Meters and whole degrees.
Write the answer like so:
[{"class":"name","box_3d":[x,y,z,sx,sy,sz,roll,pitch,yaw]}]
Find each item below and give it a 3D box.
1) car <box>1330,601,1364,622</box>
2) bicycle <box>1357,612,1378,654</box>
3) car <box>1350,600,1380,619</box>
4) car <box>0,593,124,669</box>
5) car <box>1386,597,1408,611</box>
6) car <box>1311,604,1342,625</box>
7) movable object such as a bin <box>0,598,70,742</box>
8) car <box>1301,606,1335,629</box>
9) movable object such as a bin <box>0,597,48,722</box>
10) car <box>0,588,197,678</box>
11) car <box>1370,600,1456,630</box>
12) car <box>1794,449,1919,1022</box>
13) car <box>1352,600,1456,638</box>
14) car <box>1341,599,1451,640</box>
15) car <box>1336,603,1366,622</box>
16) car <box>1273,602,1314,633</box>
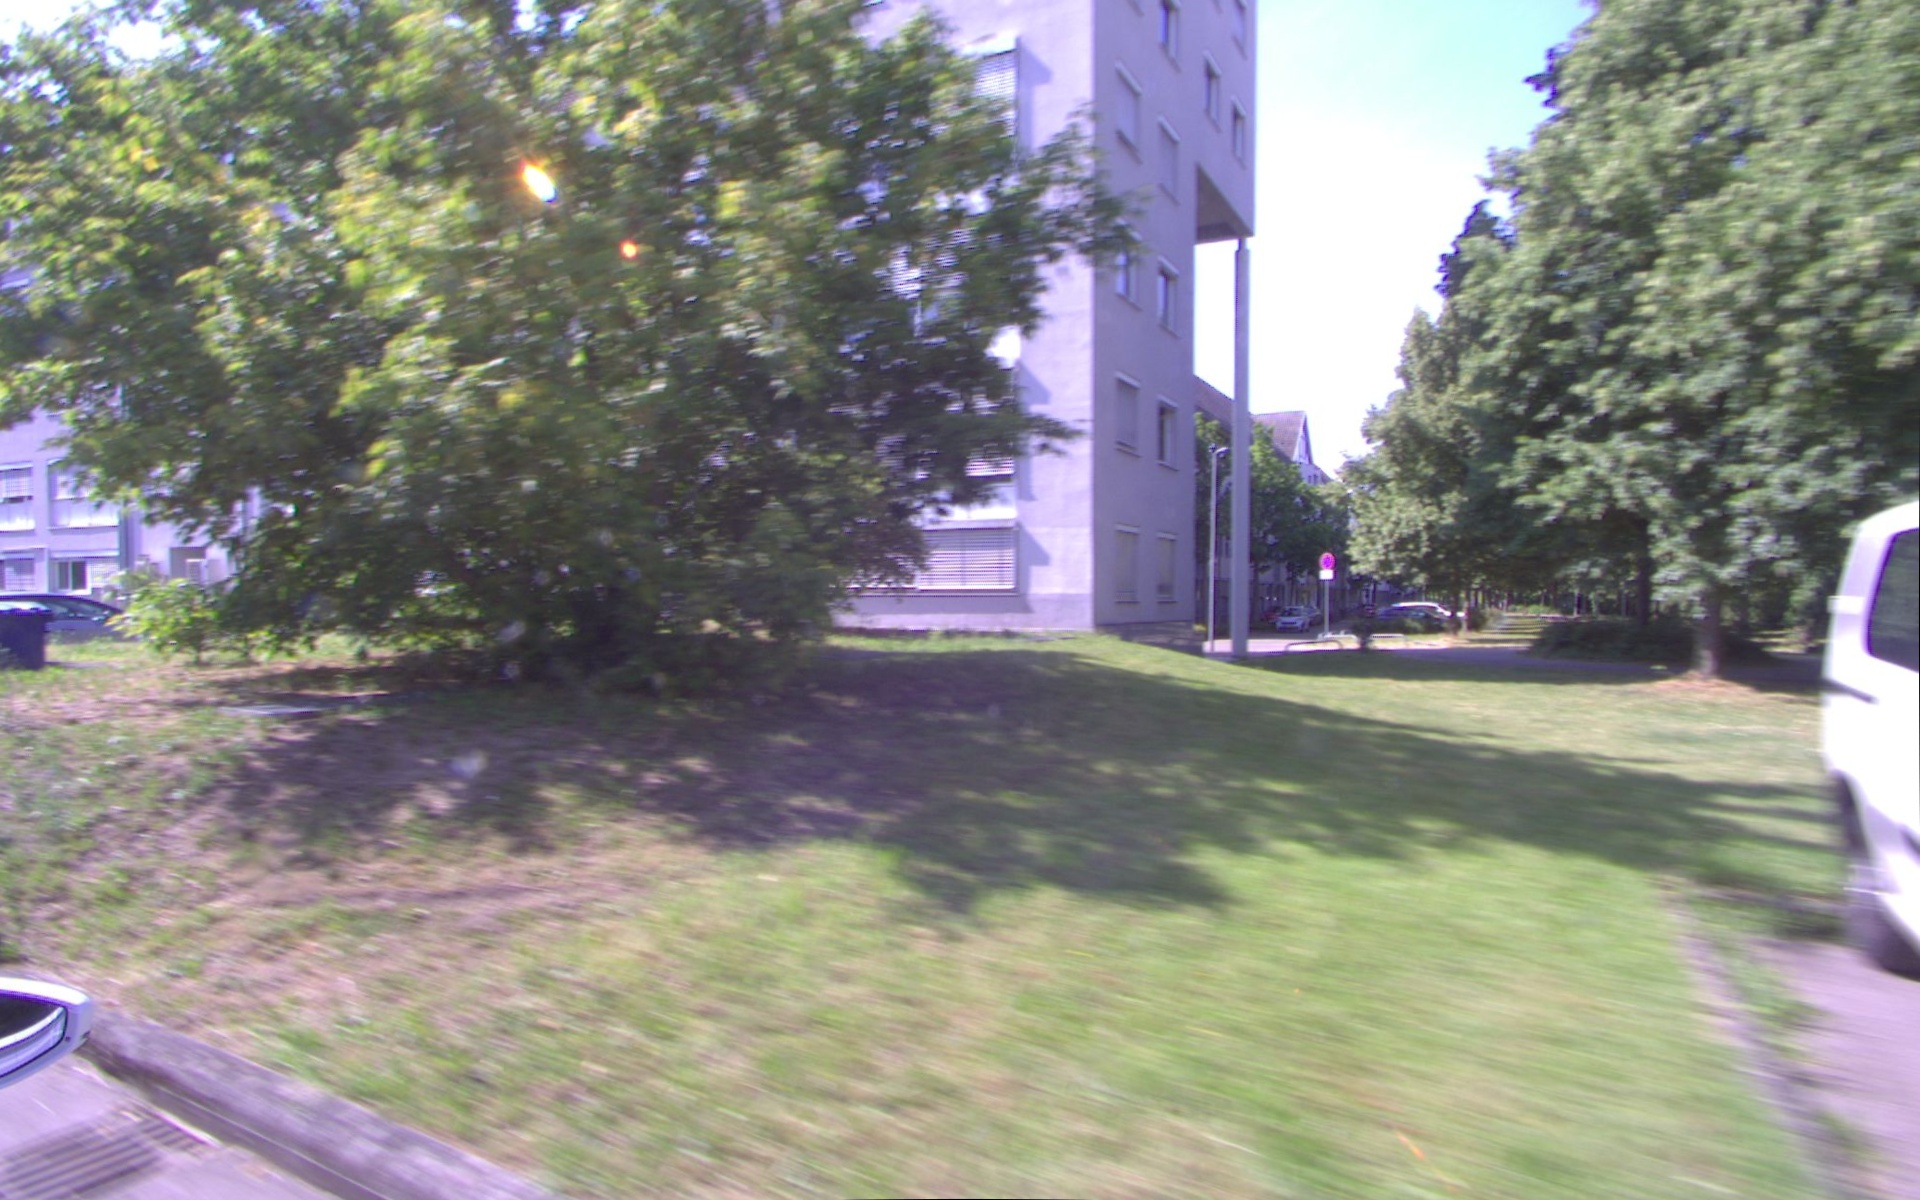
[{"class":"car","box_3d":[31.863,0.948,82.334,1.866,1.639,4.286,1,0,31]},{"class":"bicycle","box_3d":[10.820,0.854,26.583,0.388,1.063,1.444,1,1,27]},{"class":"car","box_3d":[38.754,0.894,95.804,1.970,1.783,4.570,1,0,30]},{"class":"car","box_3d":[-18.820,0.589,19.167,1.663,1.413,3.981,1,1,29]},{"class":"car","box_3d":[53.014,0.477,121.409,1.969,1.618,3.980,2,2,30]},{"class":"car","box_3d":[27.784,1.049,75.883,1.655,1.545,3.983,1,0,28]},{"class":"movable object such as a bin","box_3d":[-9.690,0.670,9.763,1.126,1.358,1.244,1,1,33]},{"class":"car","box_3d":[25.052,1.178,69.943,1.655,1.545,3.983,1,0,28]},{"class":"movable object such as a bin","box_3d":[-11.030,0.655,11.002,1.124,1.354,1.154,1,1,27]},{"class":"car","box_3d":[-15.973,0.530,17.353,1.783,1.446,3.984,0,1,27]},{"class":"car","box_3d":[27.576,0.911,61.052,4.501,1.632,1.988,2,2,34]},{"class":"car","box_3d":[3.883,0.459,2.493,1.970,1.959,5.015,1,1,31]},{"class":"car","box_3d":[21.365,0.874,48.211,4.305,1.662,1.989,2,2,32]},{"class":"car","box_3d":[20.070,0.869,46.128,4.373,1.662,1.989,2,2,32]},{"class":"car","box_3d":[35.732,1.103,91.507,1.969,1.618,3.980,2,2,30]},{"class":"car","box_3d":[19.586,1.006,58.742,1.831,1.618,3.986,1,2,24]}]
